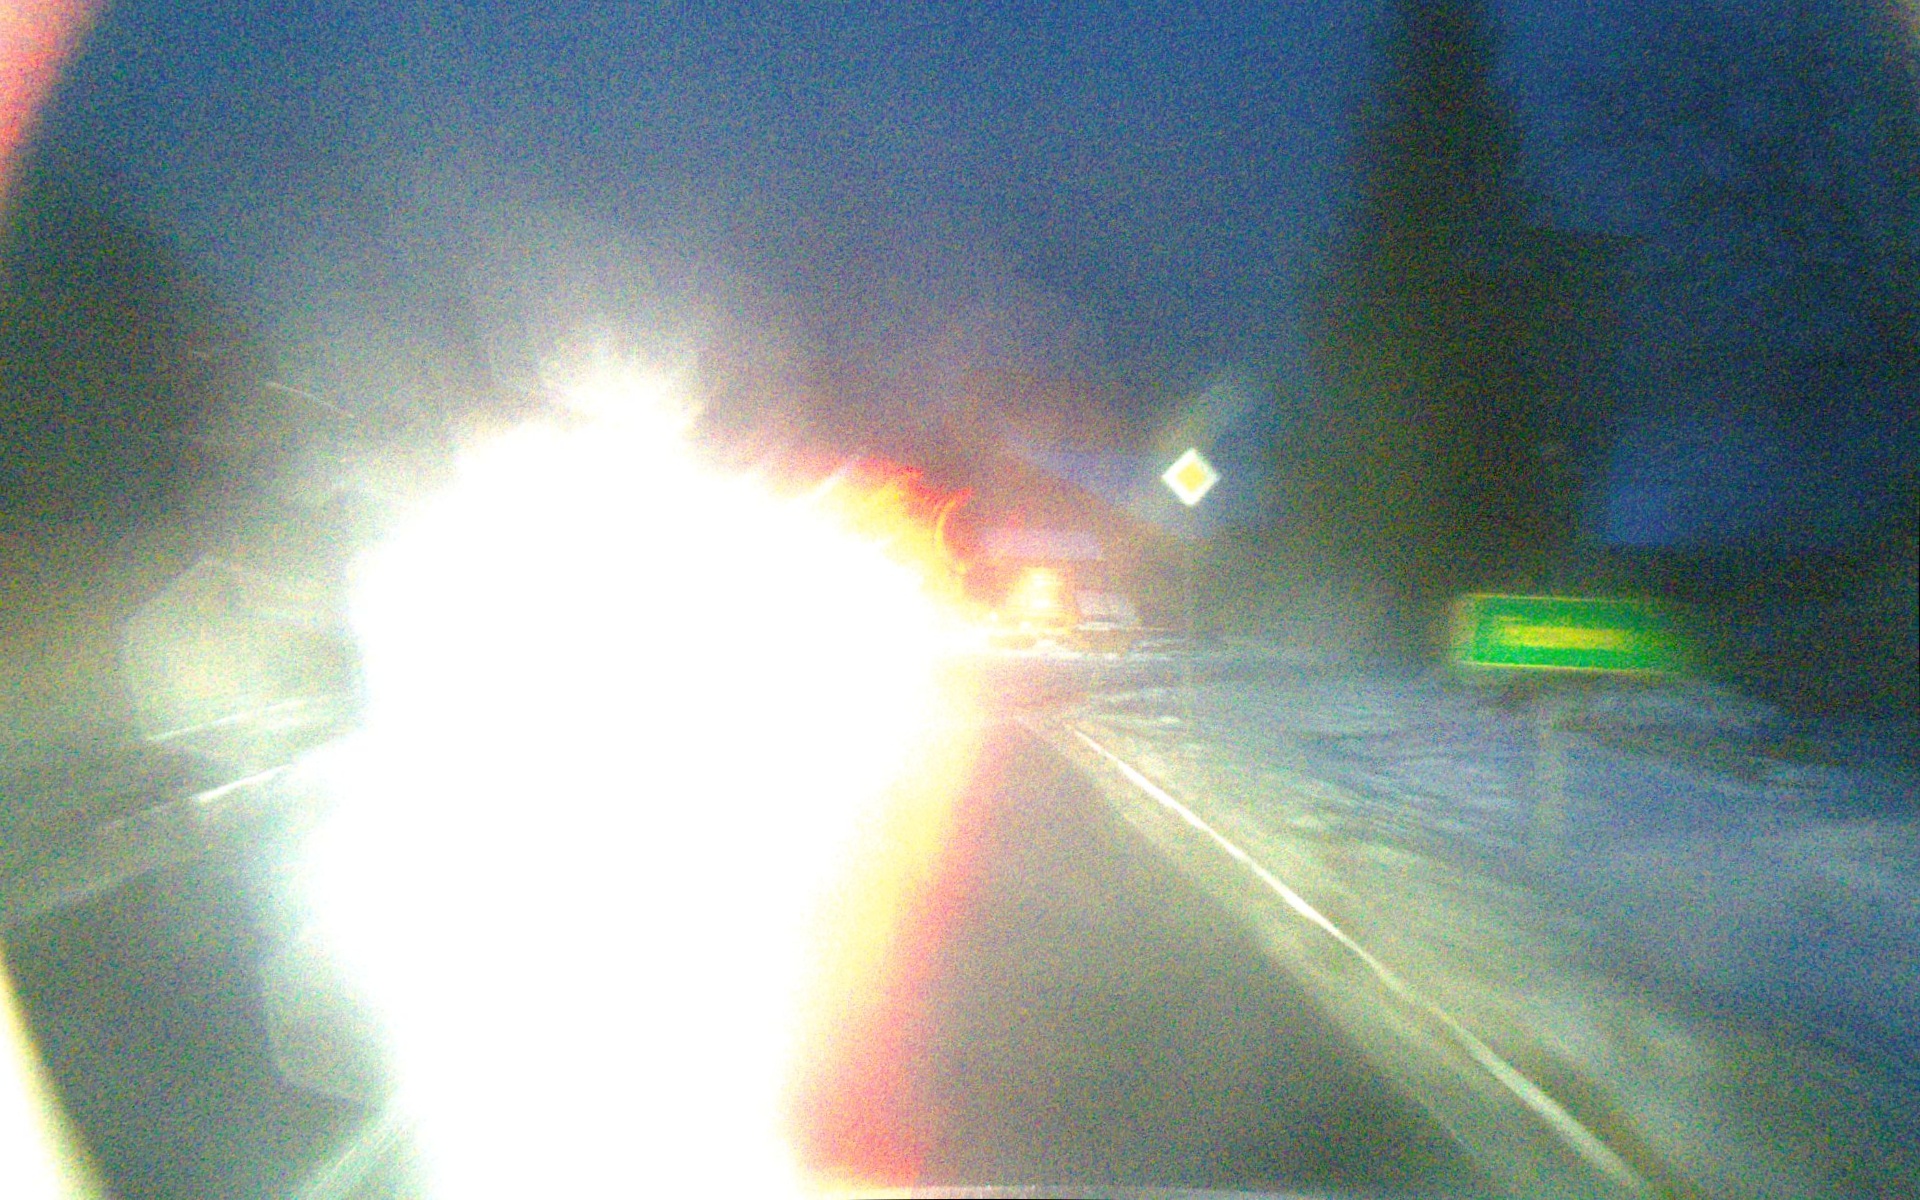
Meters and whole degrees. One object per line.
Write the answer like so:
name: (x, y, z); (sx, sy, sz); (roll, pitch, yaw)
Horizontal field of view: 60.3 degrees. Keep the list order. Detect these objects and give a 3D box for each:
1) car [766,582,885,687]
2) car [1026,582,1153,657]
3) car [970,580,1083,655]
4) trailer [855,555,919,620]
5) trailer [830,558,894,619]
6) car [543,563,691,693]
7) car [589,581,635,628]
car: (-2.403, 0.544, 28.841); (1.768, 1.657, 3.608); (2, 0, -9)
car: (3.381, 0.475, 43.984); (1.849, 1.841, 4.134); (2, 0, -18)
car: (1.906, 0.483, 48.889); (1.849, 2.075, 4.368); (2, 0, -18)
trailer: (-2.902, -0.508, 65.196); (1.578, 2.393, 4.415); (4, 0, -14)
trailer: (-4.179, -0.505, 69.888); (1.604, 2.405, 4.632); (4, 0, -16)
car: (-5.286, 0.406, 25.960); (1.940, 1.809, 3.993); (2, 0, -8)
car: (-16.520, 0.180, 78.377); (1.886, 2.093, 4.869); (2, 0, -14)
